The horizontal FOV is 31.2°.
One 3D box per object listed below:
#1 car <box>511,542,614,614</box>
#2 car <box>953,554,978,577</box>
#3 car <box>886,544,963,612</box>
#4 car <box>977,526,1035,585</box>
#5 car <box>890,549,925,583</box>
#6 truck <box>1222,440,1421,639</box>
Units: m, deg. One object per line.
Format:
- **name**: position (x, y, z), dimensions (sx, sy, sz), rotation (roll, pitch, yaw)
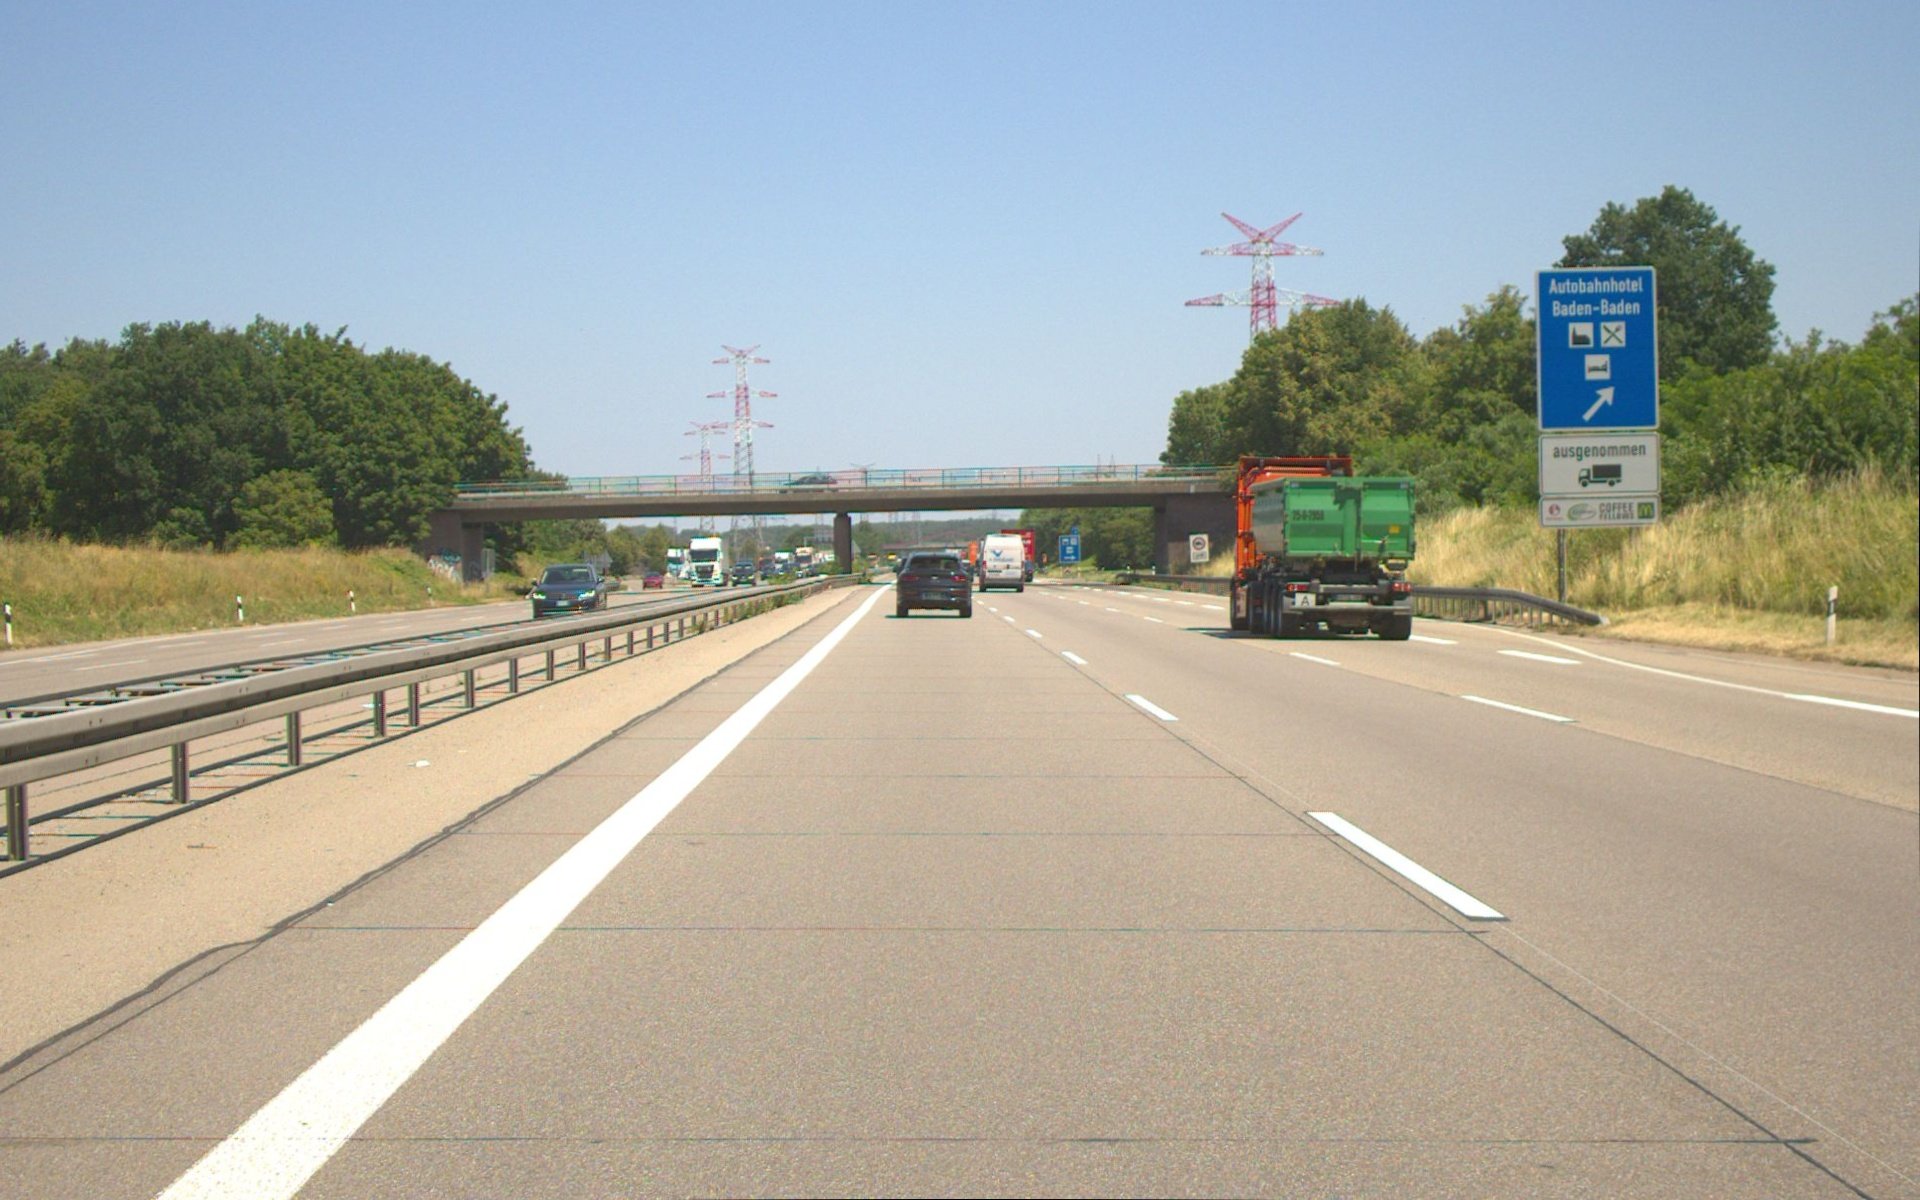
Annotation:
- **car**: position (-11.421, -0.656, 99.085), dimensions (2.364, 1.888, 5.225), rotation (-3, 1, -1)
- **car**: position (0.413, -2.570, 256.002), dimensions (1.747, 1.628, 4.004), rotation (1, 1, -1)
- **car**: position (-0.957, -0.610, 91.595), dimensions (1.993, 1.744, 4.000), rotation (1, 1, -1)
- **car**: position (2.215, -2.168, 166.596), dimensions (2.621, 2.750, 6.096), rotation (1, 1, -1)
- **car**: position (-2.770, -1.795, 180.579), dimensions (1.794, 1.744, 4.000), rotation (1, 1, -1)
- **truck**: position (7.388, -1.244, 71.972), dimensions (2.681, 3.785, 12.479), rotation (1, 1, -1)
